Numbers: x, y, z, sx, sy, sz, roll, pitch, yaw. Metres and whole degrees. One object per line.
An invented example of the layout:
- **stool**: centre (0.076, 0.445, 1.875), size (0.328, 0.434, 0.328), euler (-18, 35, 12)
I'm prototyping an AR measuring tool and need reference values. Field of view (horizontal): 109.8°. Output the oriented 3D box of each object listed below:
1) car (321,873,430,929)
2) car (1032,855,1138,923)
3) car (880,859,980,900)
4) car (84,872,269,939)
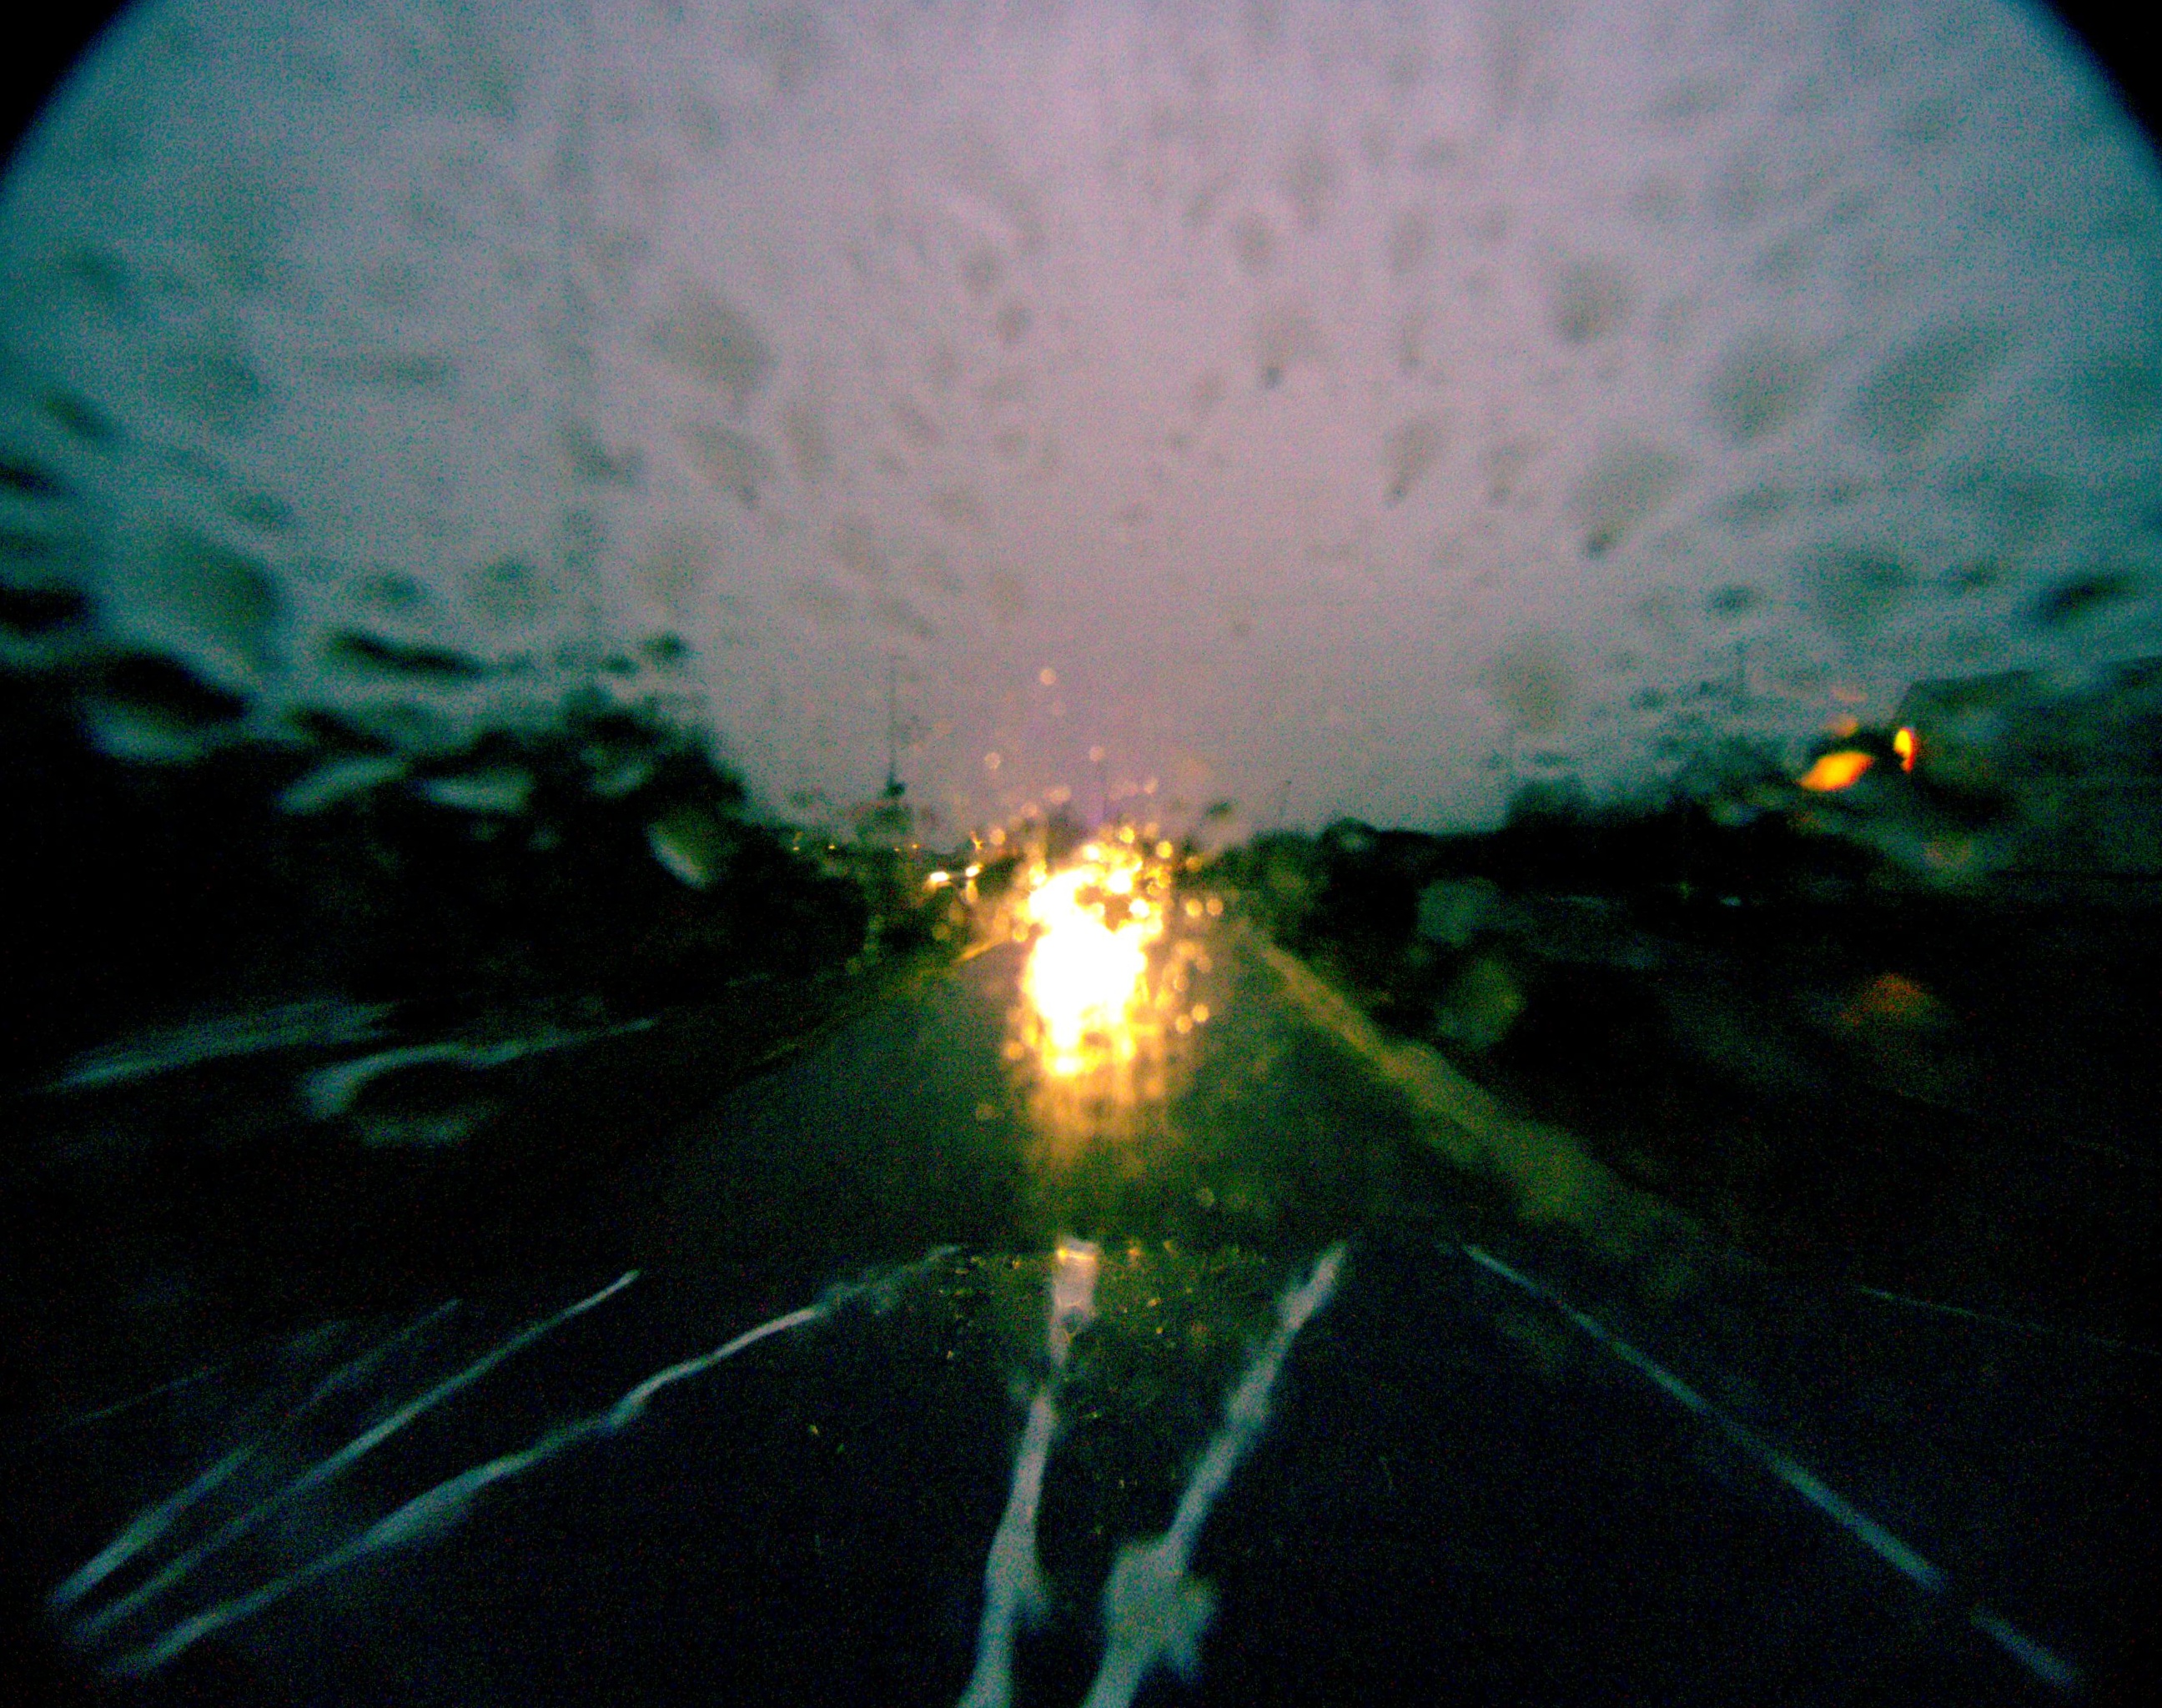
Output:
- **car**: centre (-27.836, 1.782, 30.191), size (1.941, 1.907, 5.236), euler (-3, 0, -30)
- **car**: centre (-0.031, 0.804, 19.567), size (1.811, 1.452, 4.241), euler (-2, 1, -12)
- **car**: centre (-6.151, 1.058, 30.976), size (3.702, 1.483, 1.665), euler (-3, 0, 27)
- **car**: centre (-29.878, 1.591, 25.402), size (2.372, 1.854, 5.318), euler (0, 0, -31)
